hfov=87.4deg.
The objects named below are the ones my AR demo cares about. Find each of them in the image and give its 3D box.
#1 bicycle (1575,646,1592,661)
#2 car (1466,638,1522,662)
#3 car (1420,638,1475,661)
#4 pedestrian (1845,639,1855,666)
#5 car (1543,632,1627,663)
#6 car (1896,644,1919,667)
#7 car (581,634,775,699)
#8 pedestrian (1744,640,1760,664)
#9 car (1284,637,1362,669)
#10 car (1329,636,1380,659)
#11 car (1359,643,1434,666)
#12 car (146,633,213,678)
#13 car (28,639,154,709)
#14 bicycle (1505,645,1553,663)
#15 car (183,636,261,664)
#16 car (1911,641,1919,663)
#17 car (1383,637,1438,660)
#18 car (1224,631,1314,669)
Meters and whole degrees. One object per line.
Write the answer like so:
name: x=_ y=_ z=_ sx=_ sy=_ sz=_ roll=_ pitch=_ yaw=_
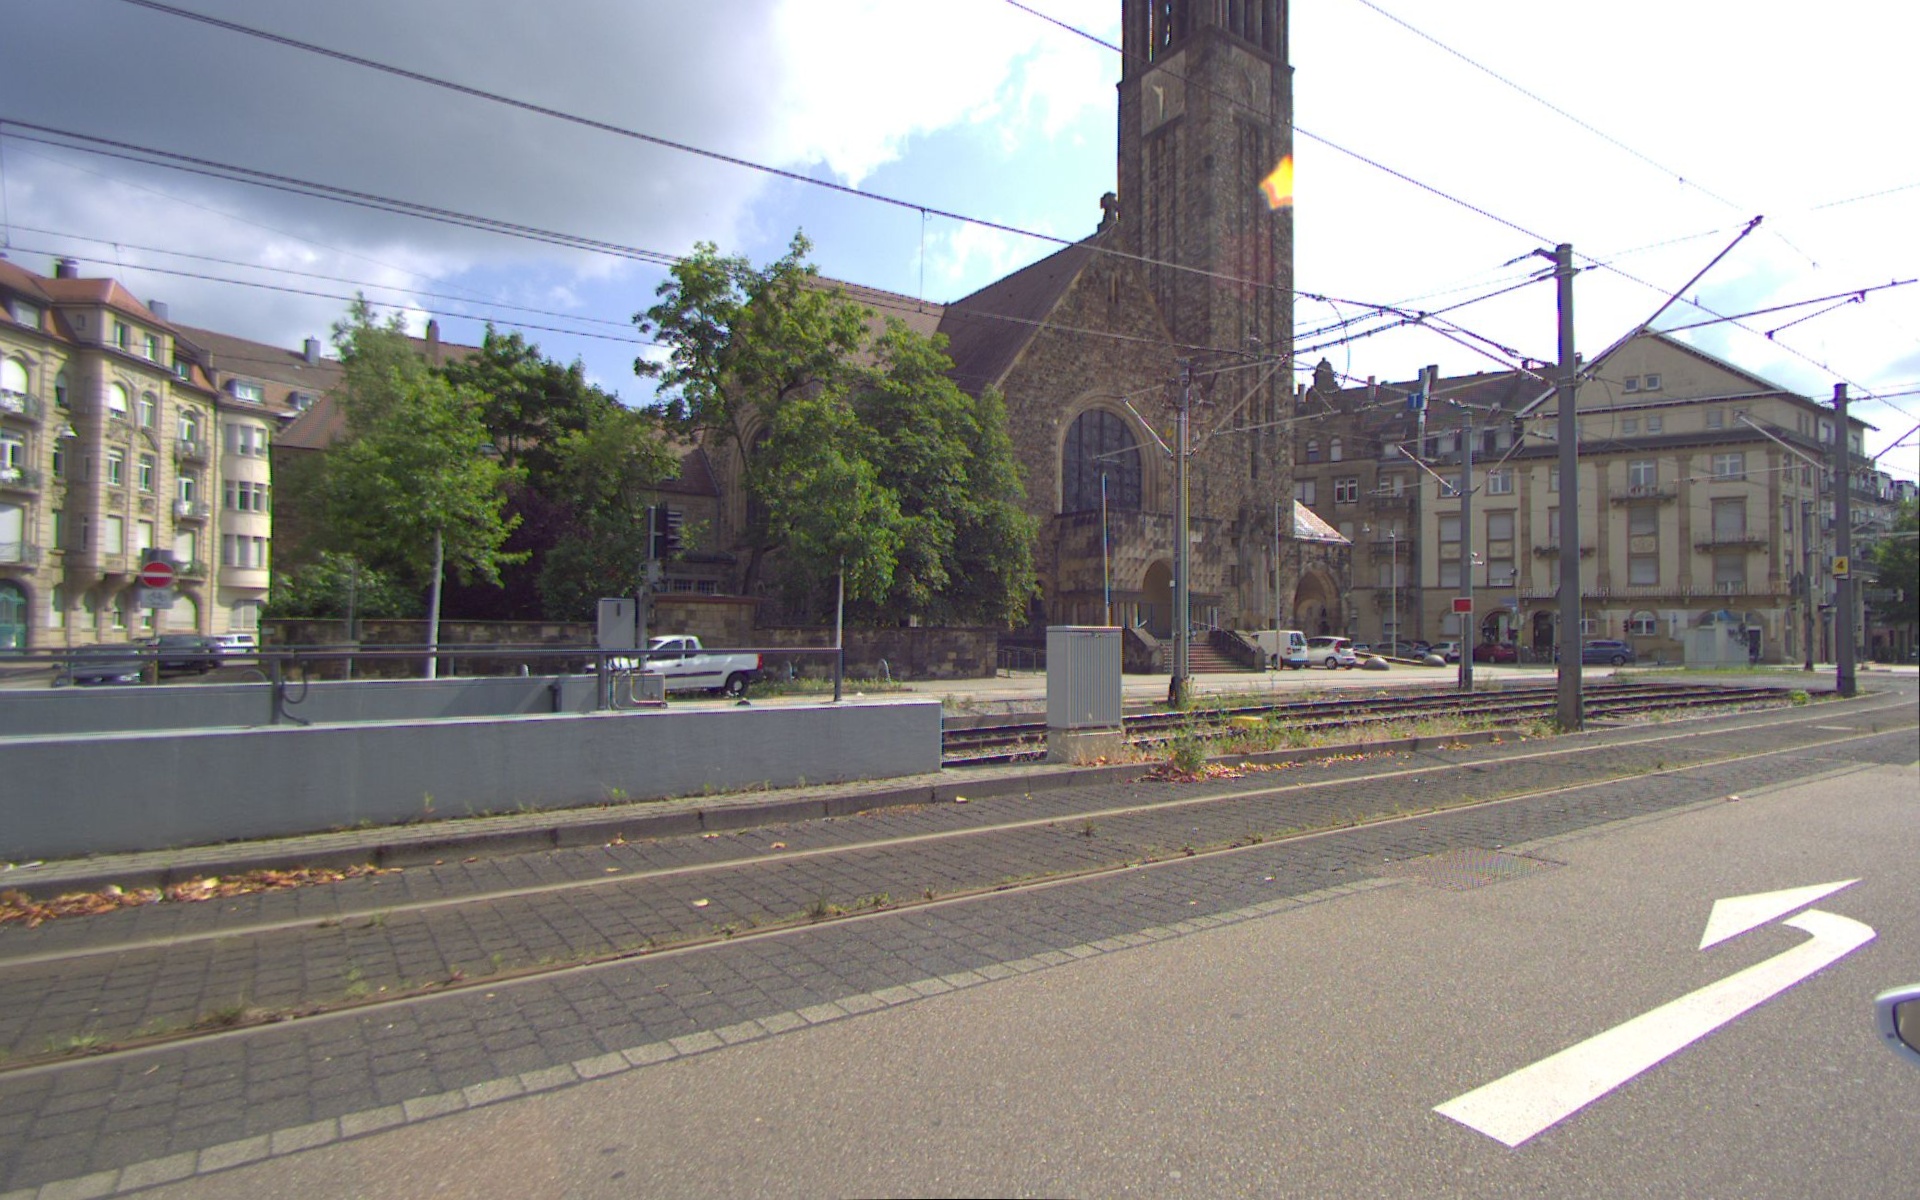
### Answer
bicycle: x=44.785 y=3.836 z=72.209 sx=0.791 sy=1.067 sz=2.563 roll=-1 pitch=-2 yaw=26
car: x=39.367 y=3.648 z=74.136 sx=1.961 sy=1.696 sz=4.000 roll=0 pitch=-2 yaw=-1
car: x=36.861 y=3.711 z=76.008 sx=1.770 sy=1.661 sz=3.994 roll=1 pitch=-2 yaw=-9
pedestrian: x=67.264 y=3.937 z=75.951 sx=0.416 sy=2.040 sz=0.473 roll=2 pitch=-2 yaw=-39
car: x=42.016 y=3.188 z=67.683 sx=4.721 sy=2.040 sz=1.996 roll=-1 pitch=-2 yaw=31
car: x=86.439 y=4.985 z=90.669 sx=3.959 sy=2.040 sz=1.981 roll=2 pitch=-2 yaw=-34
car: x=-7.124 y=1.639 z=25.555 sx=4.372 sy=1.524 sz=1.918 roll=2 pitch=-2 yaw=-36
pedestrian: x=54.305 y=3.580 z=68.873 sx=0.848 sy=1.617 sz=0.691 roll=-1 pitch=-2 yaw=38
car: x=18.142 y=2.623 z=50.283 sx=1.836 sy=1.522 sz=3.244 roll=2 pitch=-2 yaw=-35
car: x=31.083 y=3.737 z=79.254 sx=1.964 sy=1.757 sz=3.994 roll=1 pitch=-2 yaw=-9
car: x=29.570 y=3.673 z=68.129 sx=4.492 sy=1.455 sz=1.702 roll=-1 pitch=-2 yaw=33
car: x=-31.030 y=2.164 z=40.026 sx=1.914 sy=1.692 sz=3.755 roll=2 pitch=-3 yaw=-35
car: x=-20.323 y=1.676 z=23.654 sx=1.705 sy=1.483 sz=3.939 roll=2 pitch=-3 yaw=-33
bicycle: x=41.347 y=3.915 z=73.047 sx=0.983 sy=1.270 sz=3.309 roll=1 pitch=-2 yaw=-17
car: x=-44.790 y=3.021 z=61.080 sx=1.894 sy=1.692 sz=3.794 roll=0 pitch=-2 yaw=0
car: x=90.682 y=4.842 z=93.731 sx=3.959 sy=2.040 sz=1.981 roll=2 pitch=-2 yaw=-34
car: x=34.491 y=3.730 z=77.031 sx=1.964 sy=1.695 sz=3.994 roll=1 pitch=-2 yaw=-9
car: x=15.059 y=2.408 z=49.069 sx=1.877 sy=1.771 sz=3.843 roll=2 pitch=-2 yaw=-37
